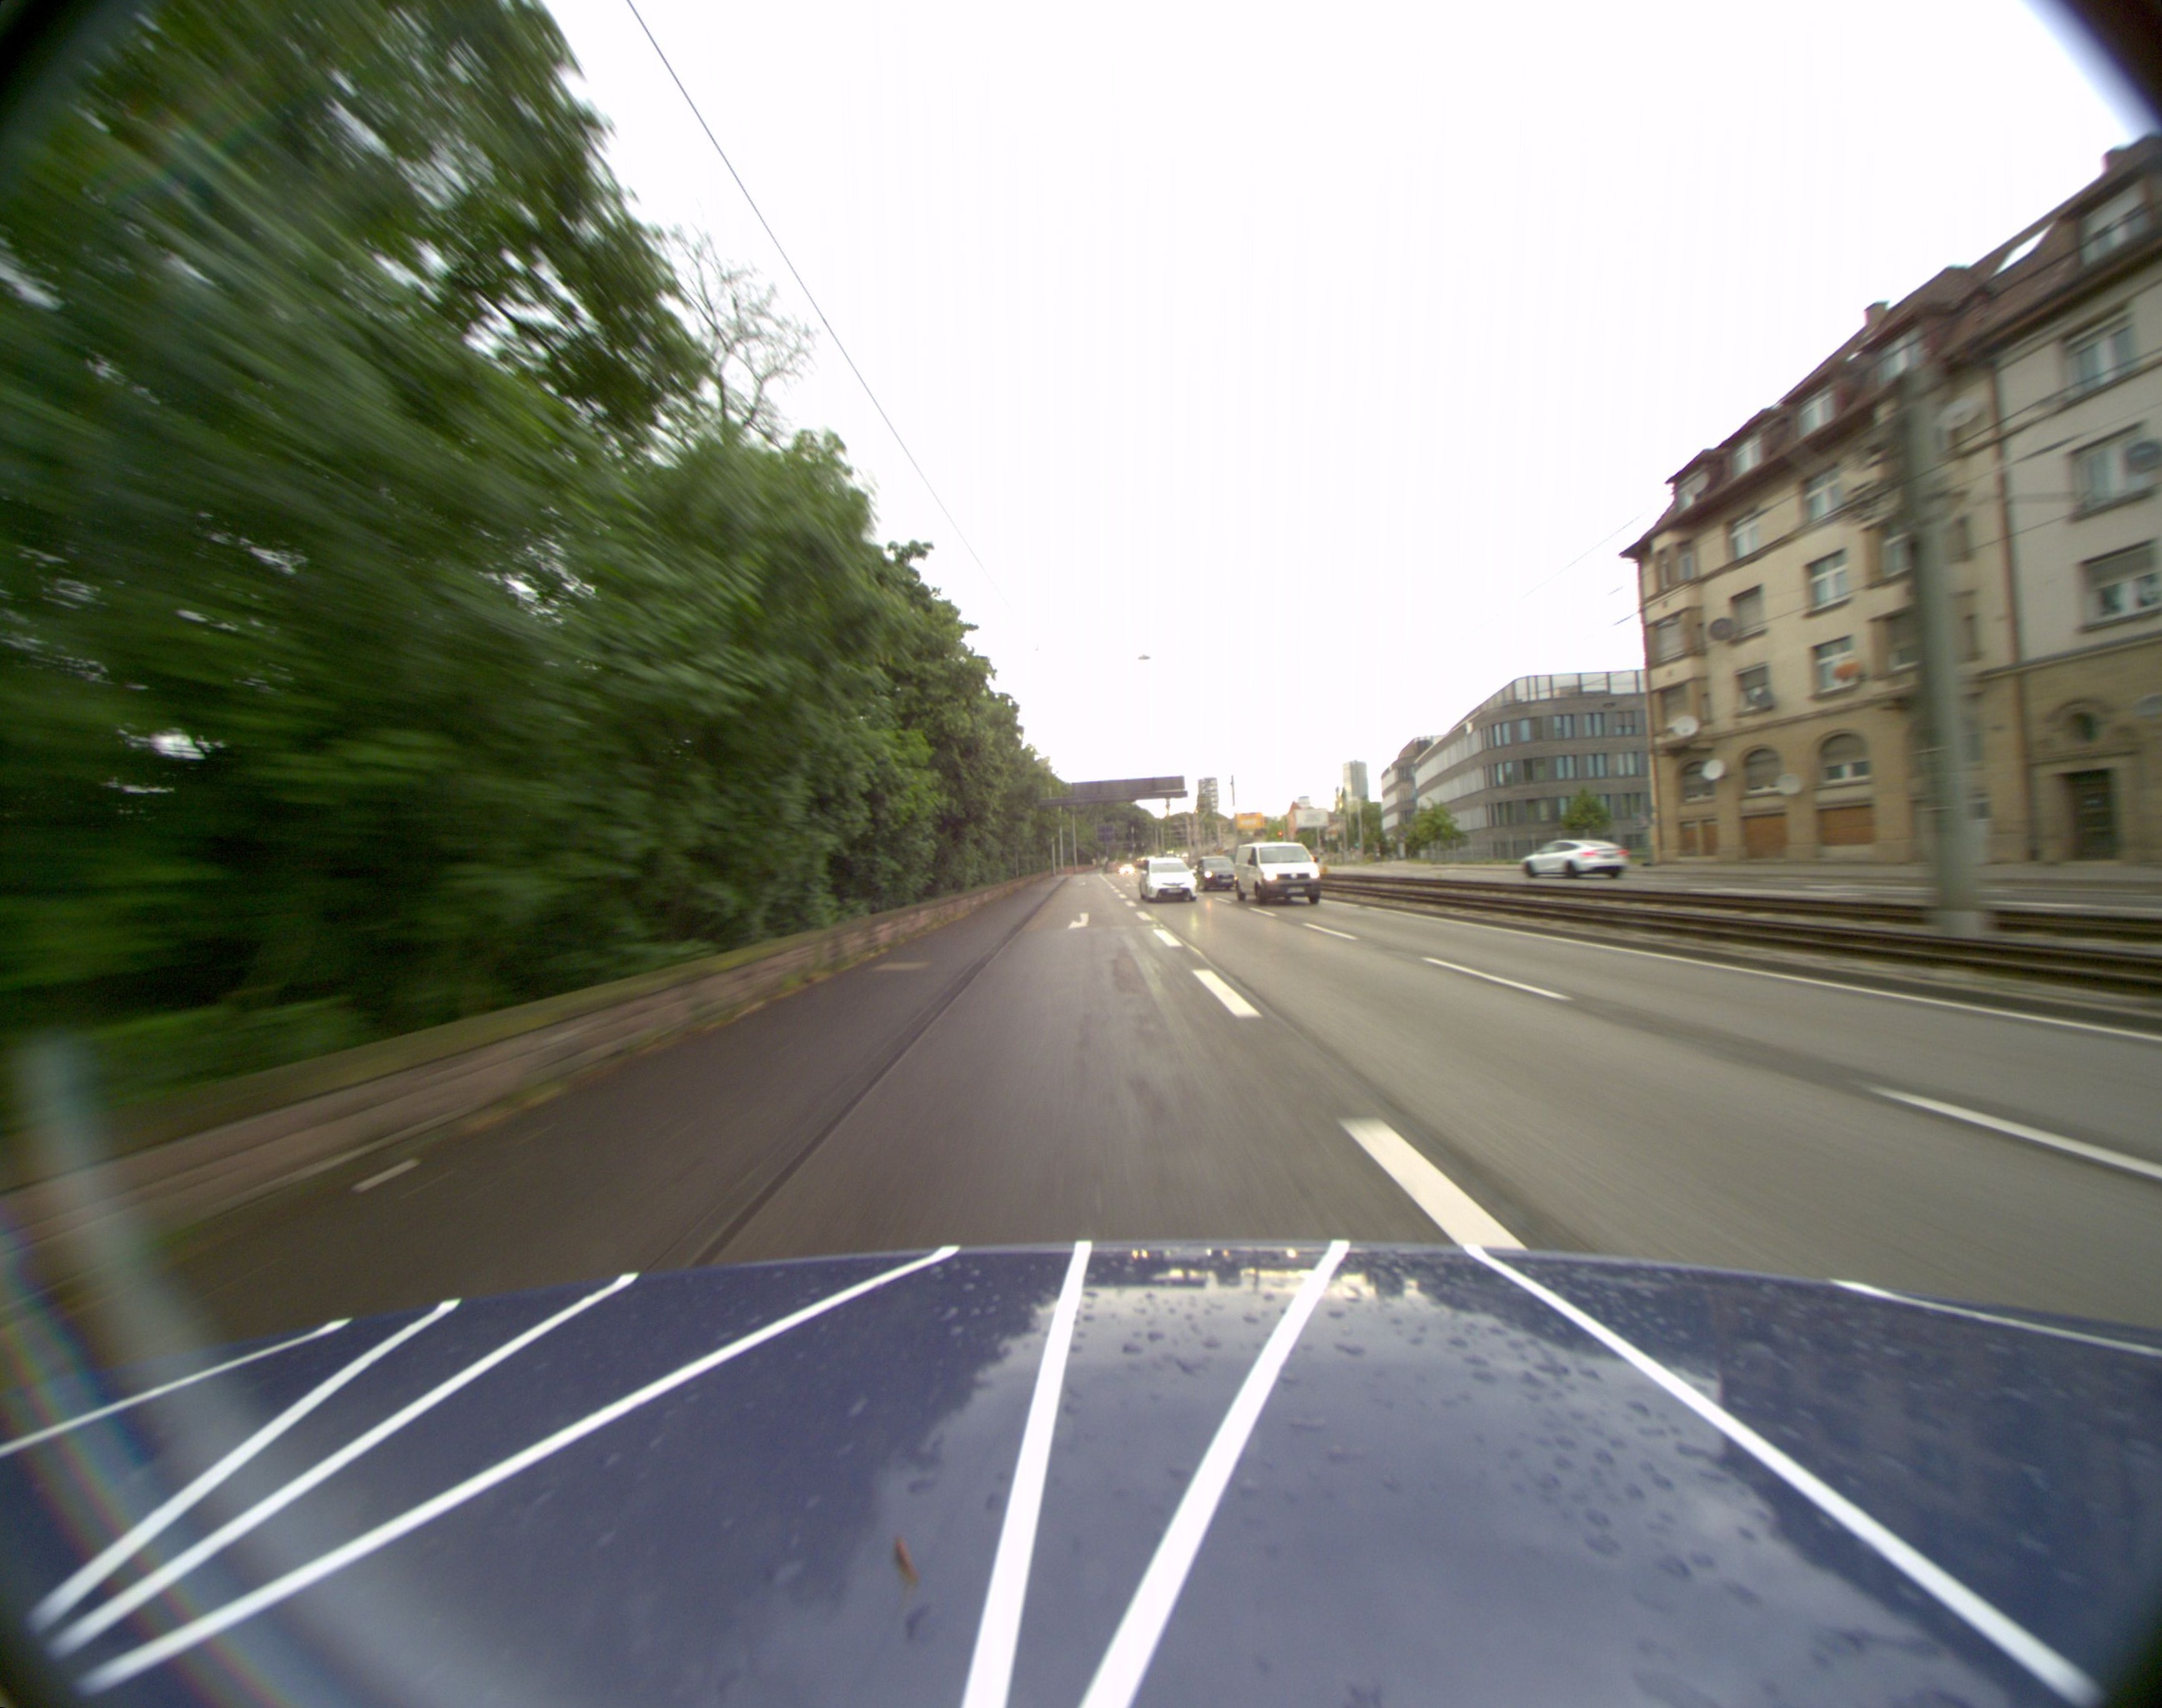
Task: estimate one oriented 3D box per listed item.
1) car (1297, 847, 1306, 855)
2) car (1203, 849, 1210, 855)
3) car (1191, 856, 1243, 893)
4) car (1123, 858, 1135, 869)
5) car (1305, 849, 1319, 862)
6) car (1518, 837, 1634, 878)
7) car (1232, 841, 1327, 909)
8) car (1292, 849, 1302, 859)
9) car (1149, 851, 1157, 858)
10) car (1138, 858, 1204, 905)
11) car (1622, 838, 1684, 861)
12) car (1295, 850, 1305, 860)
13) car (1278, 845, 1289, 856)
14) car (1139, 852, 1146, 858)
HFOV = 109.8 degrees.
[{"bbox_3d":[49.153,-0.616,169.623,1.834,1.787,4.220,-1,0,15],"label":"car"},{"bbox_3d":[39.352,-0.575,237.864,1.997,1.936,4.002,-2,0,9],"label":"car"},{"bbox_3d":[6.293,0.902,35.480,1.708,1.564,3.896,-2,0,1],"label":"car"},{"bbox_3d":[8.021,1.569,126.138,1.710,1.585,4.000,-3,0,1],"label":"car"},{"bbox_3d":[32.624,0.219,107.242,1.834,1.787,4.221,-1,0,17],"label":"car"},{"bbox_3d":[20.603,0.142,31.910,1.725,1.583,4.743,-1,0,0],"label":"car"},{"bbox_3d":[6.368,0.627,24.936,1.914,1.947,4.718,-3,0,1],"label":"car"},{"bbox_3d":[42.966,0.019,151.471,1.834,1.787,4.220,-1,0,15],"label":"car"},{"bbox_3d":[23.692,0.168,250.559,1.998,2.002,4.000,-2,0,0],"label":"car"},{"bbox_3d":[3.294,0.957,28.703,1.982,1.564,4.319,-2,0,1],"label":"car"},{"bbox_3d":[44.658,-0.359,59.426,1.745,1.644,4.000,-2,0,0],"label":"car"},{"bbox_3d":[41.911,0.143,145.437,1.834,1.787,4.220,-1,0,15],"label":"car"},{"bbox_3d":[48.676,-0.924,183.092,2.335,2.453,7.033,-2,0,13],"label":"car"},{"bbox_3d":[20.500,0.297,254.486,1.998,2.002,4.000,-2,0,0],"label":"car"}]
